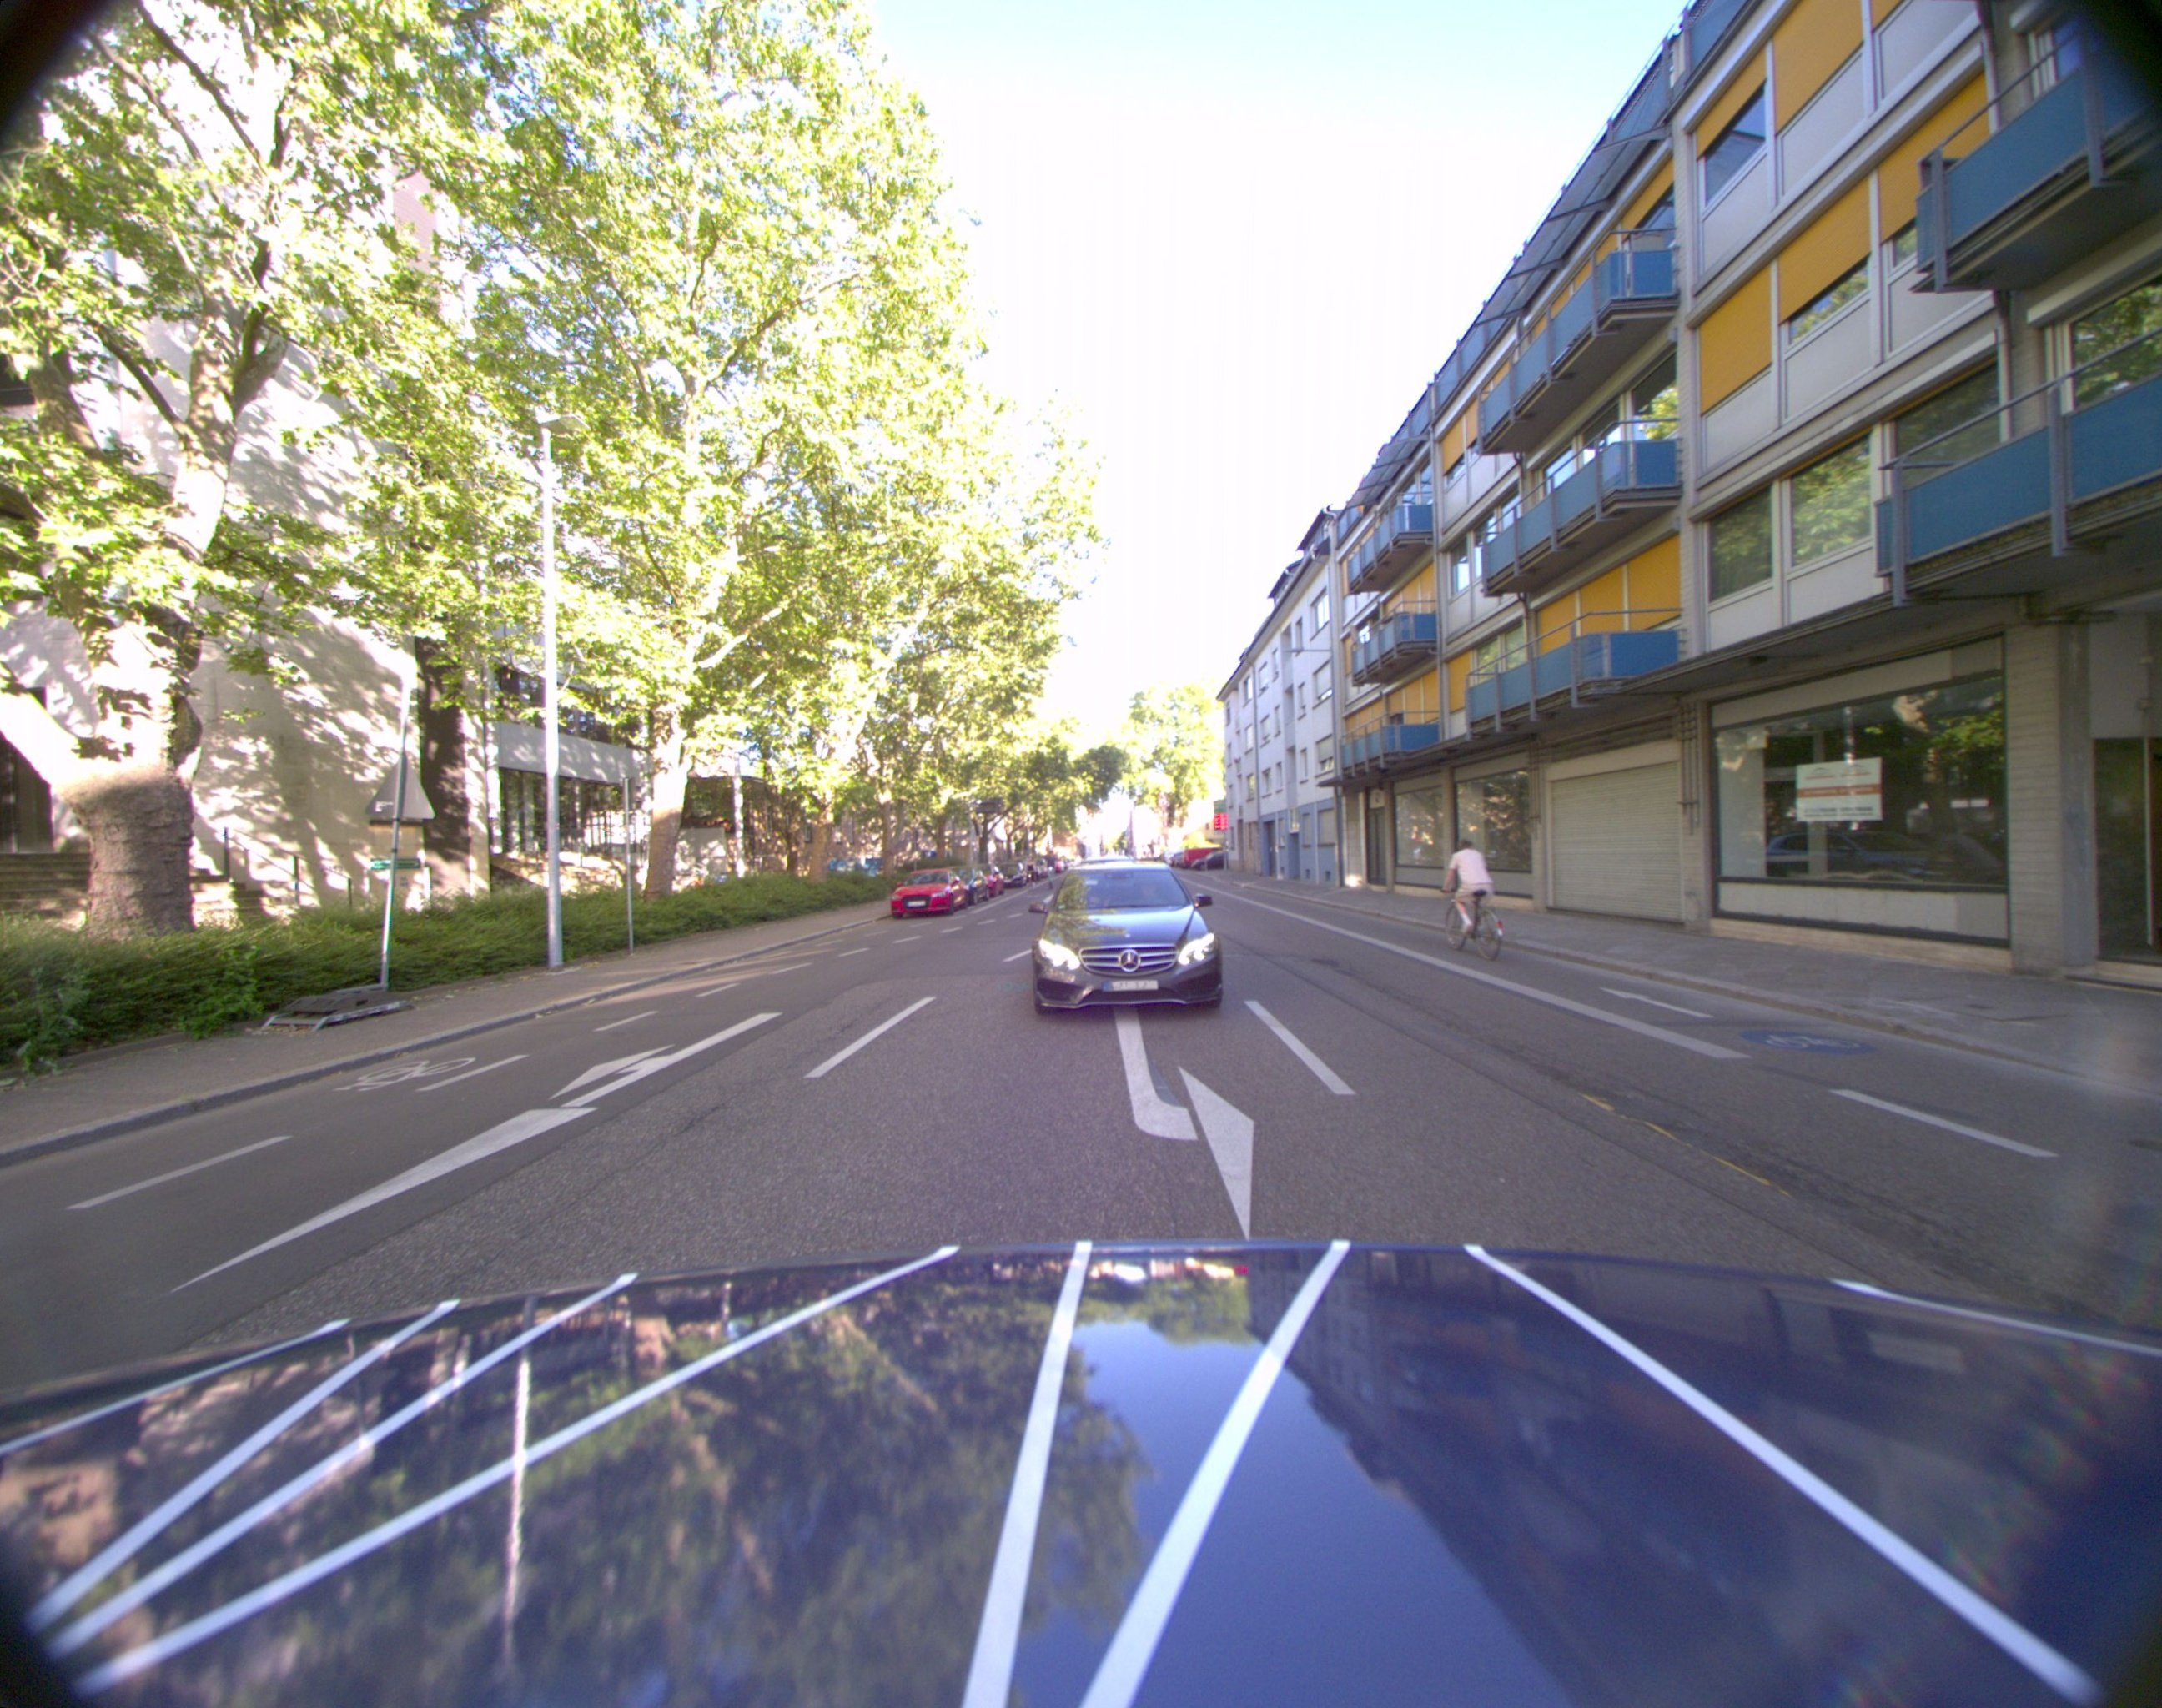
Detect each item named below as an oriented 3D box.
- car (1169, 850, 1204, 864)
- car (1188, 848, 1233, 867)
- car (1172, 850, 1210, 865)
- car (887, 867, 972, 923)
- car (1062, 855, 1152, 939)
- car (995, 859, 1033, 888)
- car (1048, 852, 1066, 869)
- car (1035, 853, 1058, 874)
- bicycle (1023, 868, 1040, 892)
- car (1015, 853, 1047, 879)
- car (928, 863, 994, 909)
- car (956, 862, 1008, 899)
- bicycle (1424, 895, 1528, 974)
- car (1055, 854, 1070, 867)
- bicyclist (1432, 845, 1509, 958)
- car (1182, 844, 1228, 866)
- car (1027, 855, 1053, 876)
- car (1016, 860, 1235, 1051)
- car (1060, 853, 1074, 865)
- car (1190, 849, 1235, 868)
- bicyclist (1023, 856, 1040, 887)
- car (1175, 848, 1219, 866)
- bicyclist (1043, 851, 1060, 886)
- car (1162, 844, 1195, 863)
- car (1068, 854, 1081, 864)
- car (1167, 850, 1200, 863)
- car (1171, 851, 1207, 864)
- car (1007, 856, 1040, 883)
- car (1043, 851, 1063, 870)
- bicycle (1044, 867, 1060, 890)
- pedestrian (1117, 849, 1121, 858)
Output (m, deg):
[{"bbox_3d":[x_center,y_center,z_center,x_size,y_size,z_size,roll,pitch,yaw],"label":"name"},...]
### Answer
[{"bbox_3d":[12.196,0.341,88.140,3.905,1.325,1.525,-3,1,3],"label":"car"},{"bbox_3d":[11.402,0.288,67.154,3.667,1.501,1.602,-3,1,3],"label":"car"},{"bbox_3d":[11.975,0.367,83.000,3.905,1.366,1.595,-3,1,3],"label":"car"},{"bbox_3d":[-4.661,1.219,23.969,1.724,1.412,4.031,-4,0,1],"label":"car"},{"bbox_3d":[0.552,0.868,17.390,1.732,1.538,4.294,-3,1,1],"label":"car"},{"bbox_3d":[-3.827,1.086,43.703,1.686,1.443,4.000,-2,0,1],"label":"car"},{"bbox_3d":[-2.539,0.693,82.303,1.686,1.749,3.837,-2,0,1],"label":"car"},{"bbox_3d":[-2.969,0.801,65.658,1.663,1.704,3.837,-2,0,1],"label":"car"},{"bbox_3d":[-2.481,1.300,38.556,0.667,1.093,1.814,-3,1,1],"label":"bicycle"},{"bbox_3d":[-3.556,0.816,54.486,1.819,1.758,4.431,-2,0,1],"label":"car"},{"bbox_3d":[-4.454,1.161,28.725,1.686,1.458,4.000,-3,0,1],"label":"car"},{"bbox_3d":[-4.354,1.129,33.910,1.666,1.426,3.781,-2,0,1],"label":"car"},{"bbox_3d":[5.606,1.107,10.908,0.549,0.886,1.868,-3,1,2],"label":"bicycle"},{"bbox_3d":[-2.286,0.809,93.347,1.639,1.493,3.753,-2,0,1],"label":"car"},{"bbox_3d":[5.592,0.655,10.941,0.650,1.549,0.807,-3,1,1],"label":"bicyclist"},{"bbox_3d":[11.399,0.099,69.999,3.905,1.895,1.749,-2,0,3],"label":"car"},{"bbox_3d":[-3.268,0.922,60.806,1.686,1.552,3.868,-2,0,1],"label":"car"},{"bbox_3d":[0.414,0.901,8.718,1.828,1.495,4.294,-3,1,1],"label":"car"},{"bbox_3d":[-1.864,0.664,101.964,1.686,1.546,3.837,-2,0,1],"label":"car"},{"bbox_3d":[11.189,0.389,64.752,3.598,1.401,1.535,-3,0,3],"label":"car"},{"bbox_3d":[-2.503,0.876,38.570,0.755,1.512,0.768,-3,1,0],"label":"bicyclist"},{"bbox_3d":[11.094,0.269,72.801,3.905,1.577,1.604,-3,1,3],"label":"car"},{"bbox_3d":[-1.485,0.725,38.778,0.755,1.714,0.768,-3,1,0],"label":"bicyclist"},{"bbox_3d":[12.199,-0.029,95.321,3.905,2.164,1.725,-3,1,3],"label":"car"},{"bbox_3d":[-0.993,0.718,113.093,1.686,1.475,3.837,-2,0,1],"label":"car"},{"bbox_3d":[12.257,0.275,90.825,3.782,1.432,1.539,-3,1,3],"label":"car"},{"bbox_3d":[12.142,0.367,85.752,3.905,1.325,1.525,-3,1,3],"label":"car"},{"bbox_3d":[-3.612,0.948,48.360,1.686,1.610,3.837,-2,0,1],"label":"car"},{"bbox_3d":[-2.802,0.644,76.515,1.645,1.839,3.837,-2,0,1],"label":"car"},{"bbox_3d":[-1.447,1.237,38.726,0.667,1.093,1.814,-3,1,1],"label":"bicycle"},{"bbox_3d":[9.502,-0.105,191.979,0.884,2.108,0.821,-3,1,2],"label":"pedestrian"}]
